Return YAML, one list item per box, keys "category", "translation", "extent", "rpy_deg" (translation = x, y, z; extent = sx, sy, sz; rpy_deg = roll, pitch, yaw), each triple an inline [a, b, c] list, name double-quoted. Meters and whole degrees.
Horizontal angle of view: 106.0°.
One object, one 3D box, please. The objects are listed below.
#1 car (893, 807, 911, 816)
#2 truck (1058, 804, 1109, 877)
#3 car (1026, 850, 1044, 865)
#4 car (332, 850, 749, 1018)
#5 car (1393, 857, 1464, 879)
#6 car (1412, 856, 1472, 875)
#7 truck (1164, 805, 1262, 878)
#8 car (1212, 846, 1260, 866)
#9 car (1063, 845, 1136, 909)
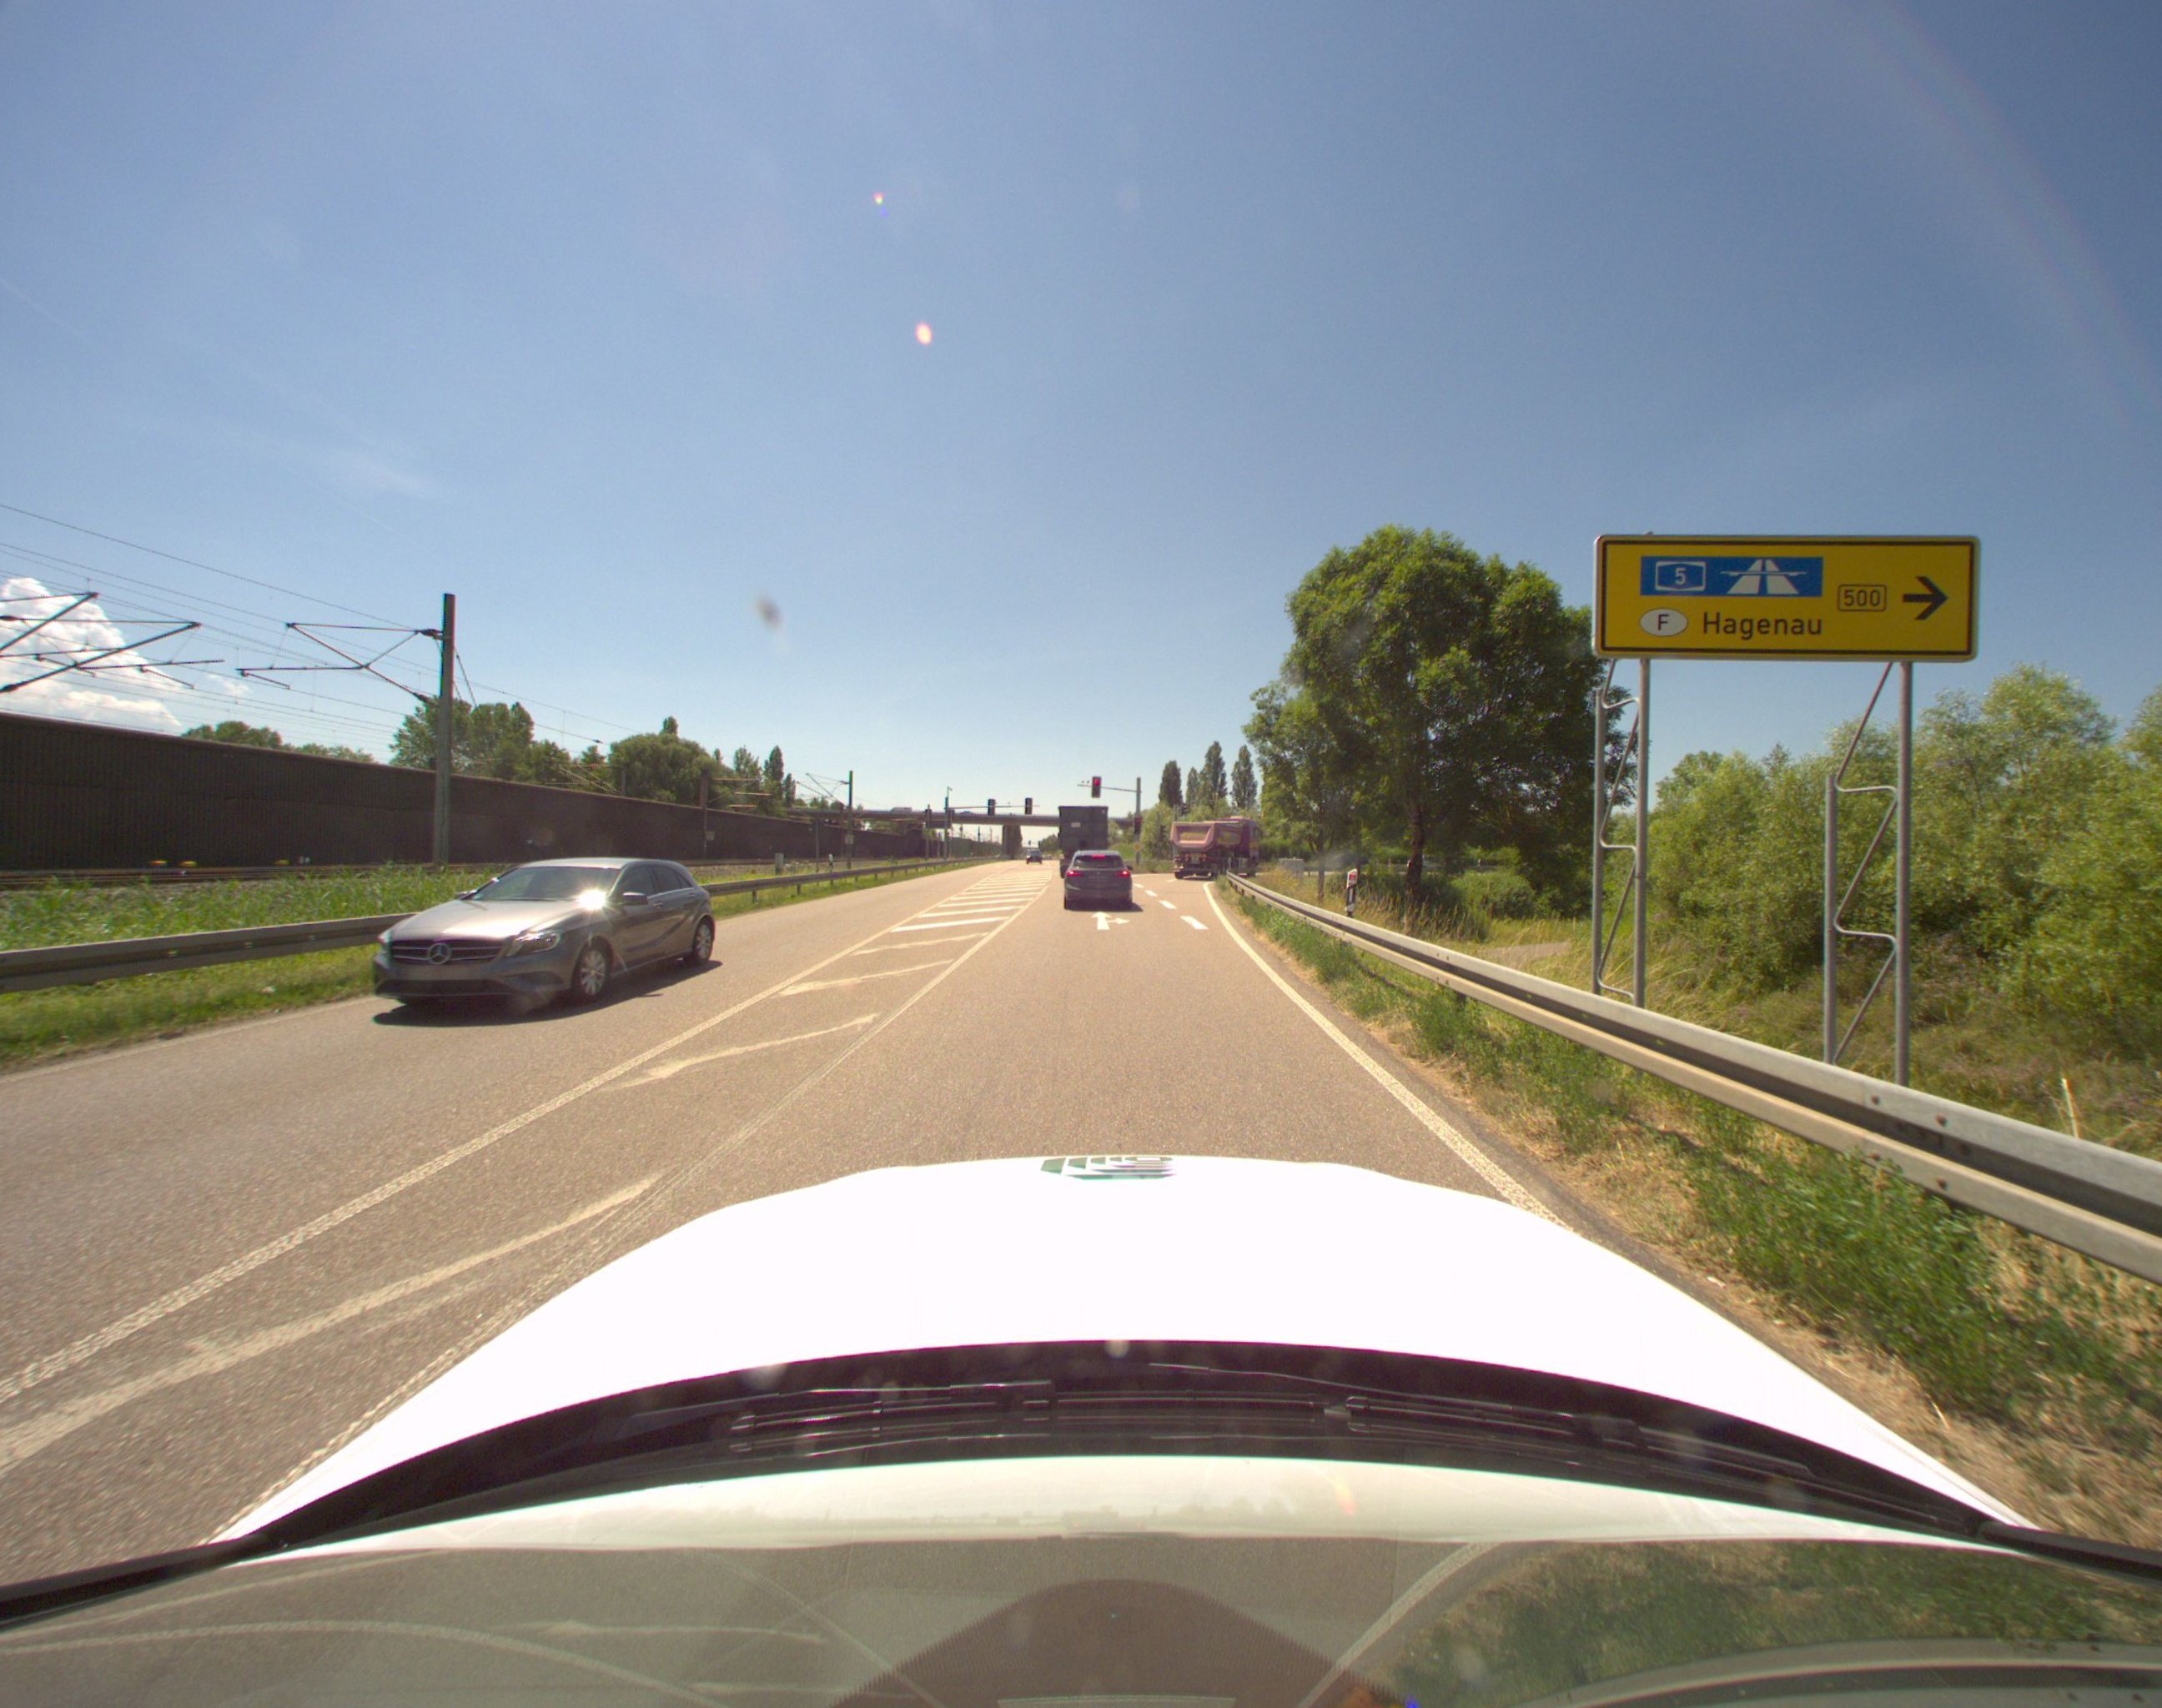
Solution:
- category: "car"
  translation: [-43.729, -10.310, 199.145]
  extent: [3.977, 2.013, 1.998]
  rpy_deg: [0, 0, -2]
- category: "truck"
  translation: [0.057, -0.740, 46.618]
  extent: [2.582, 3.737, 9.571]
  rpy_deg: [0, 0, -1]
- category: "car"
  translation: [-5.600, 0.429, 100.026]
  extent: [1.921, 1.767, 4.596]
  rpy_deg: [1, 1, -1]
- category: "car"
  translation: [-5.784, 0.704, 9.675]
  extent: [1.860, 1.485, 4.883]
  rpy_deg: [0, 0, -3]
- category: "car"
  translation: [26.059, 1.029, 61.156]
  extent: [4.647, 1.631, 1.928]
  rpy_deg: [0, 0, -9]
- category: "car"
  translation: [30.392, 0.961, 68.666]
  extent: [4.211, 1.631, 1.933]
  rpy_deg: [0, 0, -1]
- category: "truck"
  translation: [8.166, -0.658, 48.587]
  extent: [2.808, 3.821, 11.951]
  rpy_deg: [0, 0, 24]
- category: "car"
  translation: [13.041, 0.162, 68.471]
  extent: [3.697, 1.631, 1.733]
  rpy_deg: [0, 0, -2]
- category: "car"
  translation: [0.515, 0.584, 22.762]
  extent: [1.838, 1.623, 4.227]
  rpy_deg: [0, 0, 1]
